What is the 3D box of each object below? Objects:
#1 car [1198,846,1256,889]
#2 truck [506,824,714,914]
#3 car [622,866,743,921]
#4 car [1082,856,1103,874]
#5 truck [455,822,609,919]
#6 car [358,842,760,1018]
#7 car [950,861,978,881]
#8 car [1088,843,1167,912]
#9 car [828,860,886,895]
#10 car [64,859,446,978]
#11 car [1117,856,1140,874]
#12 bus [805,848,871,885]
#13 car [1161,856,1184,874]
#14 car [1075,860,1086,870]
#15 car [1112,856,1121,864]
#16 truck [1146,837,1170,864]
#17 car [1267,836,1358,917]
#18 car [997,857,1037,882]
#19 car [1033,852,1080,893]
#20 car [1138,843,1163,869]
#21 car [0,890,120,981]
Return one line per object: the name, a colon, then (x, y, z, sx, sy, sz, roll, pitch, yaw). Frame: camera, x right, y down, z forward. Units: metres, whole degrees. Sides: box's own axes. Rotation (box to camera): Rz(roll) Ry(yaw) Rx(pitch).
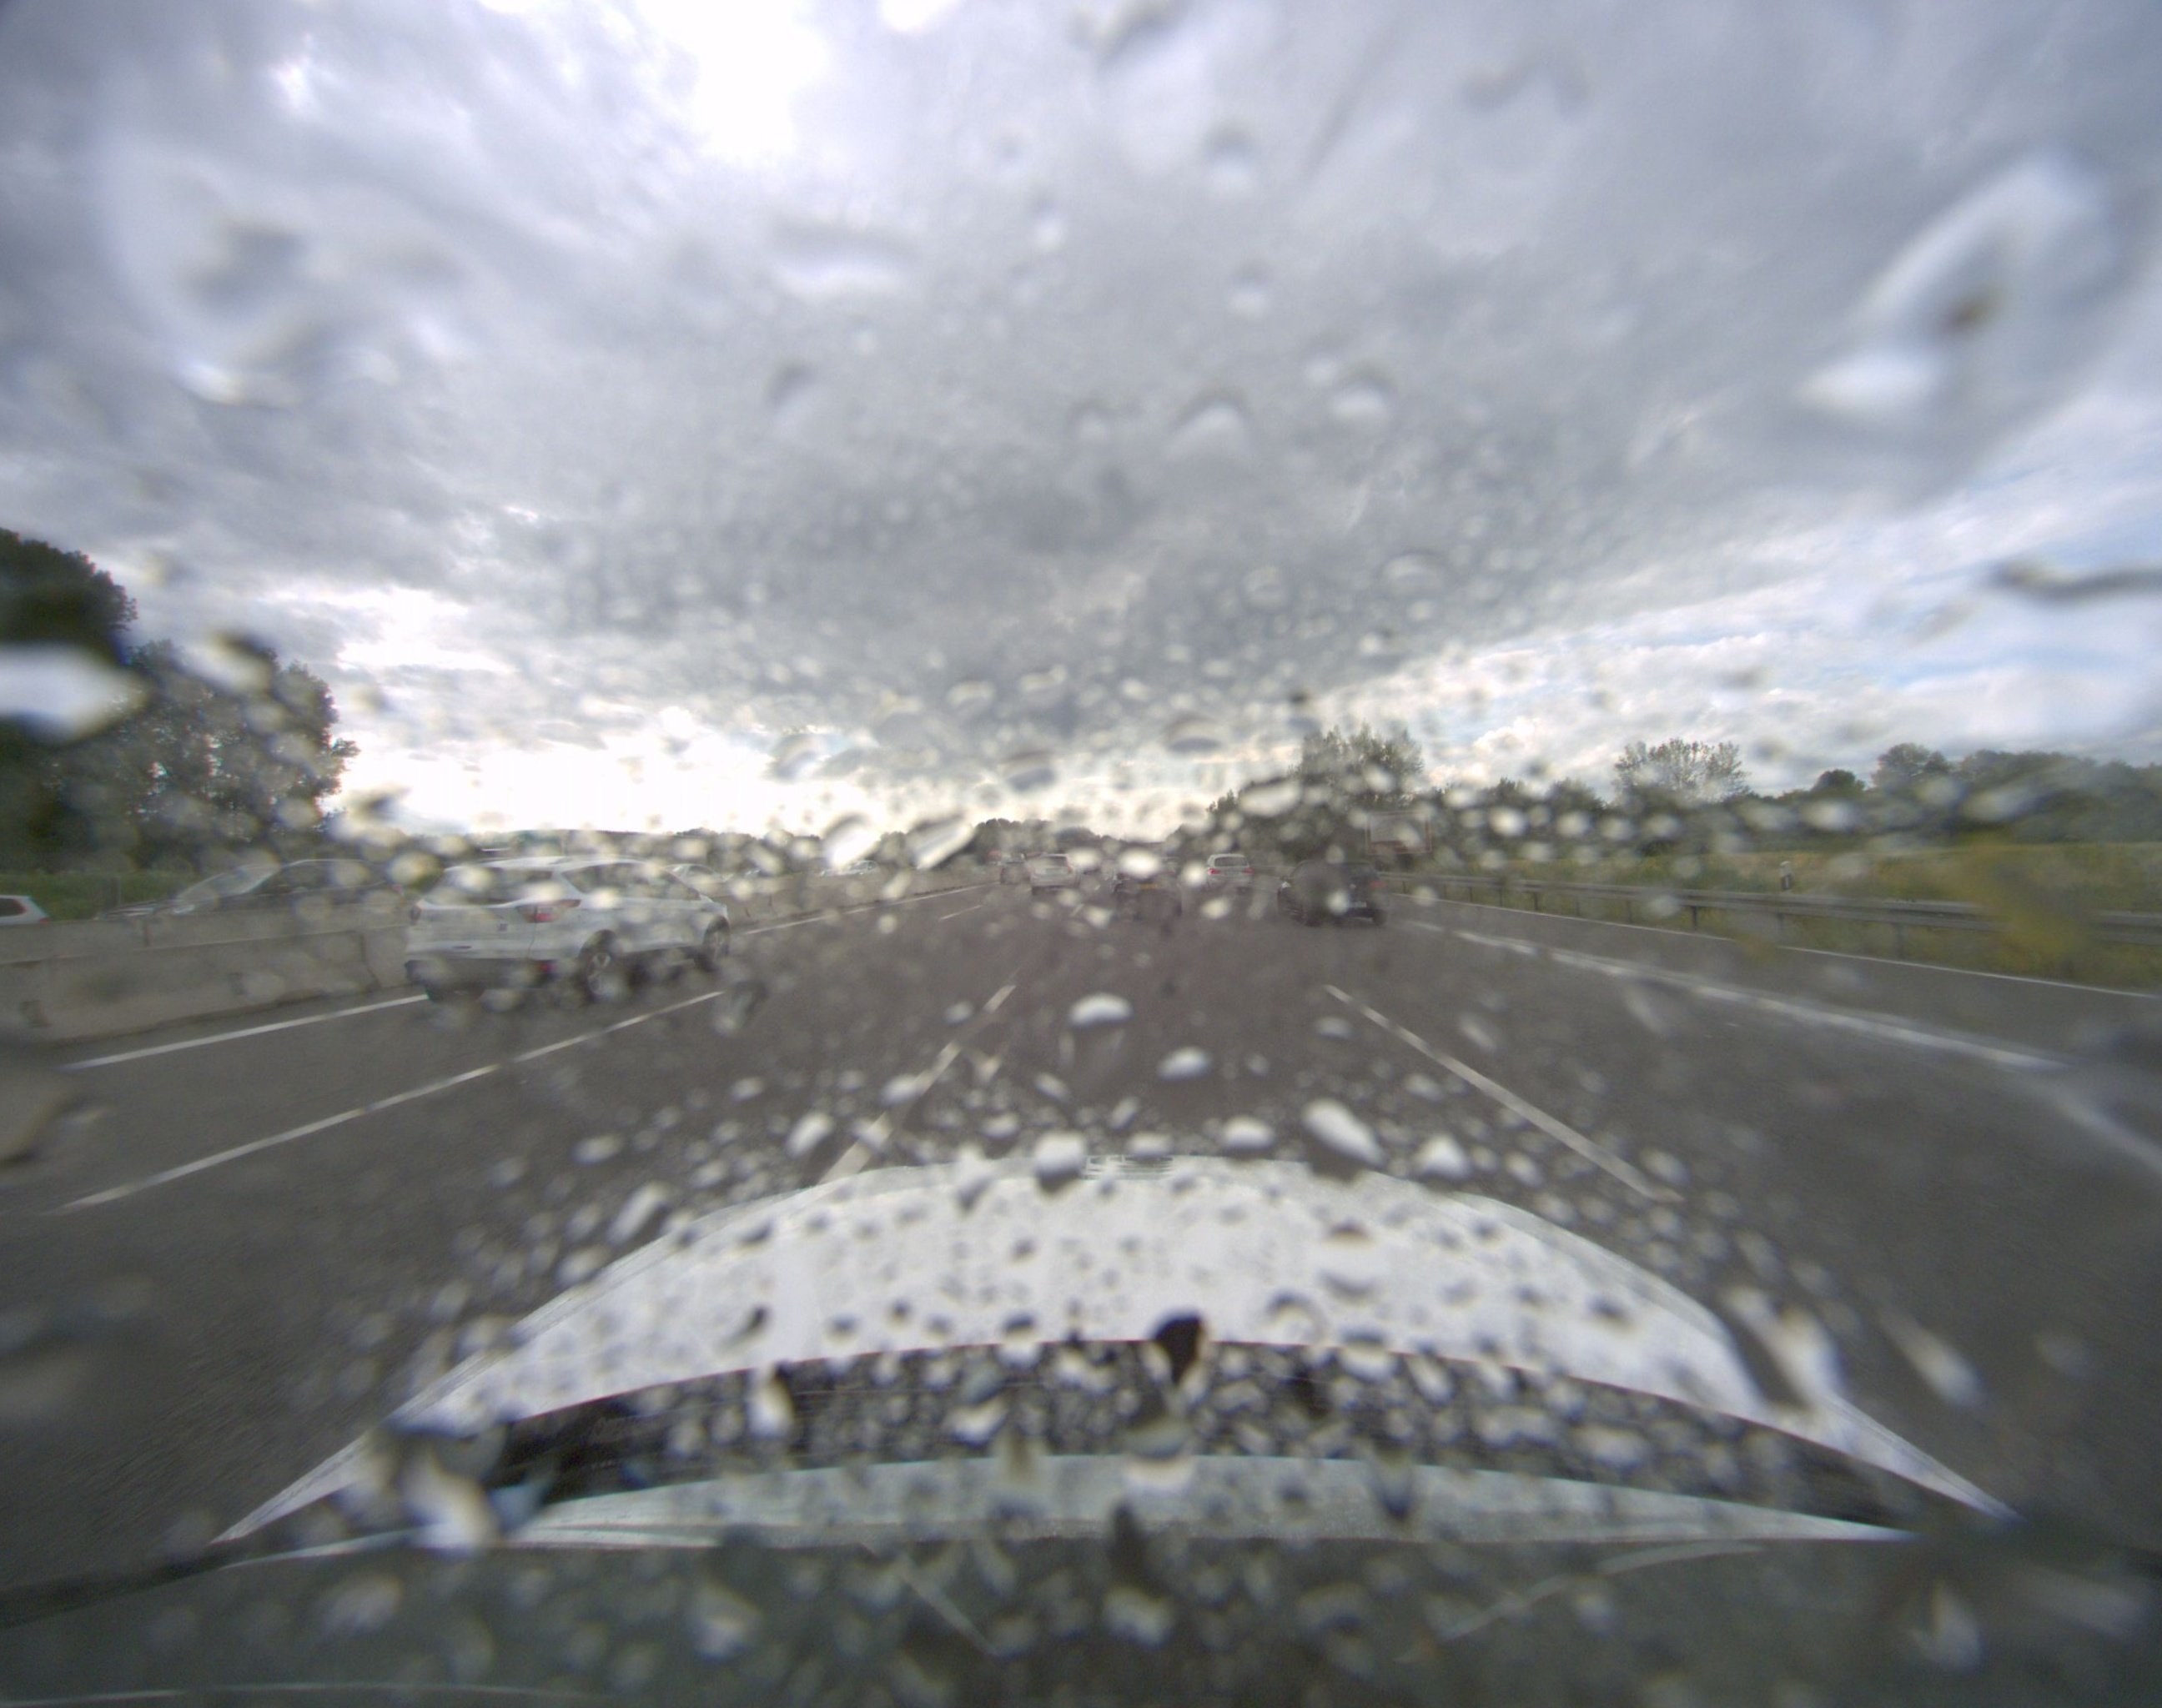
car: (6.018, 0.539, 34.038, 1.803, 1.599, 4.699, -1, 0, 3)
truck: (-26.052, 0.780, 46.579, 3.135, 4.313, 13.962, -1, 0, 3)
car: (-15.558, 1.486, 32.190, 1.985, 1.853, 5.082, -2, 0, 3)
car: (1.173, 1.078, 79.479, 1.874, 1.686, 4.002, -1, 0, 2)
truck: (-26.402, 0.753, 39.580, 3.105, 4.282, 5.916, -2, 0, 3)
car: (-6.160, 0.758, 10.521, 1.807, 1.689, 4.856, -2, 0, 3)
car: (-12.342, 1.768, 86.139, 1.986, 2.014, 5.185, -1, 0, 2)
car: (1.135, 0.586, 21.885, 1.775, 1.613, 4.596, -1, 0, -1)
car: (-13.910, 1.396, 50.865, 1.985, 2.014, 4.767, -1, 0, 3)
car: (-15.523, 1.065, 15.902, 1.985, 1.898, 5.190, -1, 0, 3)
car: (3.995, 0.920, 68.178, 1.876, 1.407, 4.287, -1, 0, 4)
bus: (-24.031, 1.185, 81.238, 2.819, 3.332, 9.974, -1, 0, 4)
car: (8.020, 0.969, 71.824, 1.787, 1.477, 4.042, -1, 0, 4)
car: (-0.019, 1.775, 126.980, 1.557, 1.477, 3.921, -1, 0, 2)
car: (7.678, 1.371, 176.492, 1.874, 1.686, 4.002, -1, 0, 2)
truck: (11.289, -0.429, 120.182, 3.119, 3.709, 9.857, -1, 0, 4)
car: (5.248, 0.479, 18.920, 1.695, 1.631, 4.471, -2, 0, 12)
car: (-4.023, 0.978, 51.950, 1.772, 1.481, 4.359, -1, 0, 5)
car: (-1.051, 0.789, 36.620, 1.774, 1.716, 4.355, -1, 0, 2)
car: (8.170, 0.262, 96.230, 2.557, 2.895, 7.538, -1, 0, 2)
car: (-24.270, 1.838, 17.098, 1.985, 1.853, 5.082, -2, 0, 3)
